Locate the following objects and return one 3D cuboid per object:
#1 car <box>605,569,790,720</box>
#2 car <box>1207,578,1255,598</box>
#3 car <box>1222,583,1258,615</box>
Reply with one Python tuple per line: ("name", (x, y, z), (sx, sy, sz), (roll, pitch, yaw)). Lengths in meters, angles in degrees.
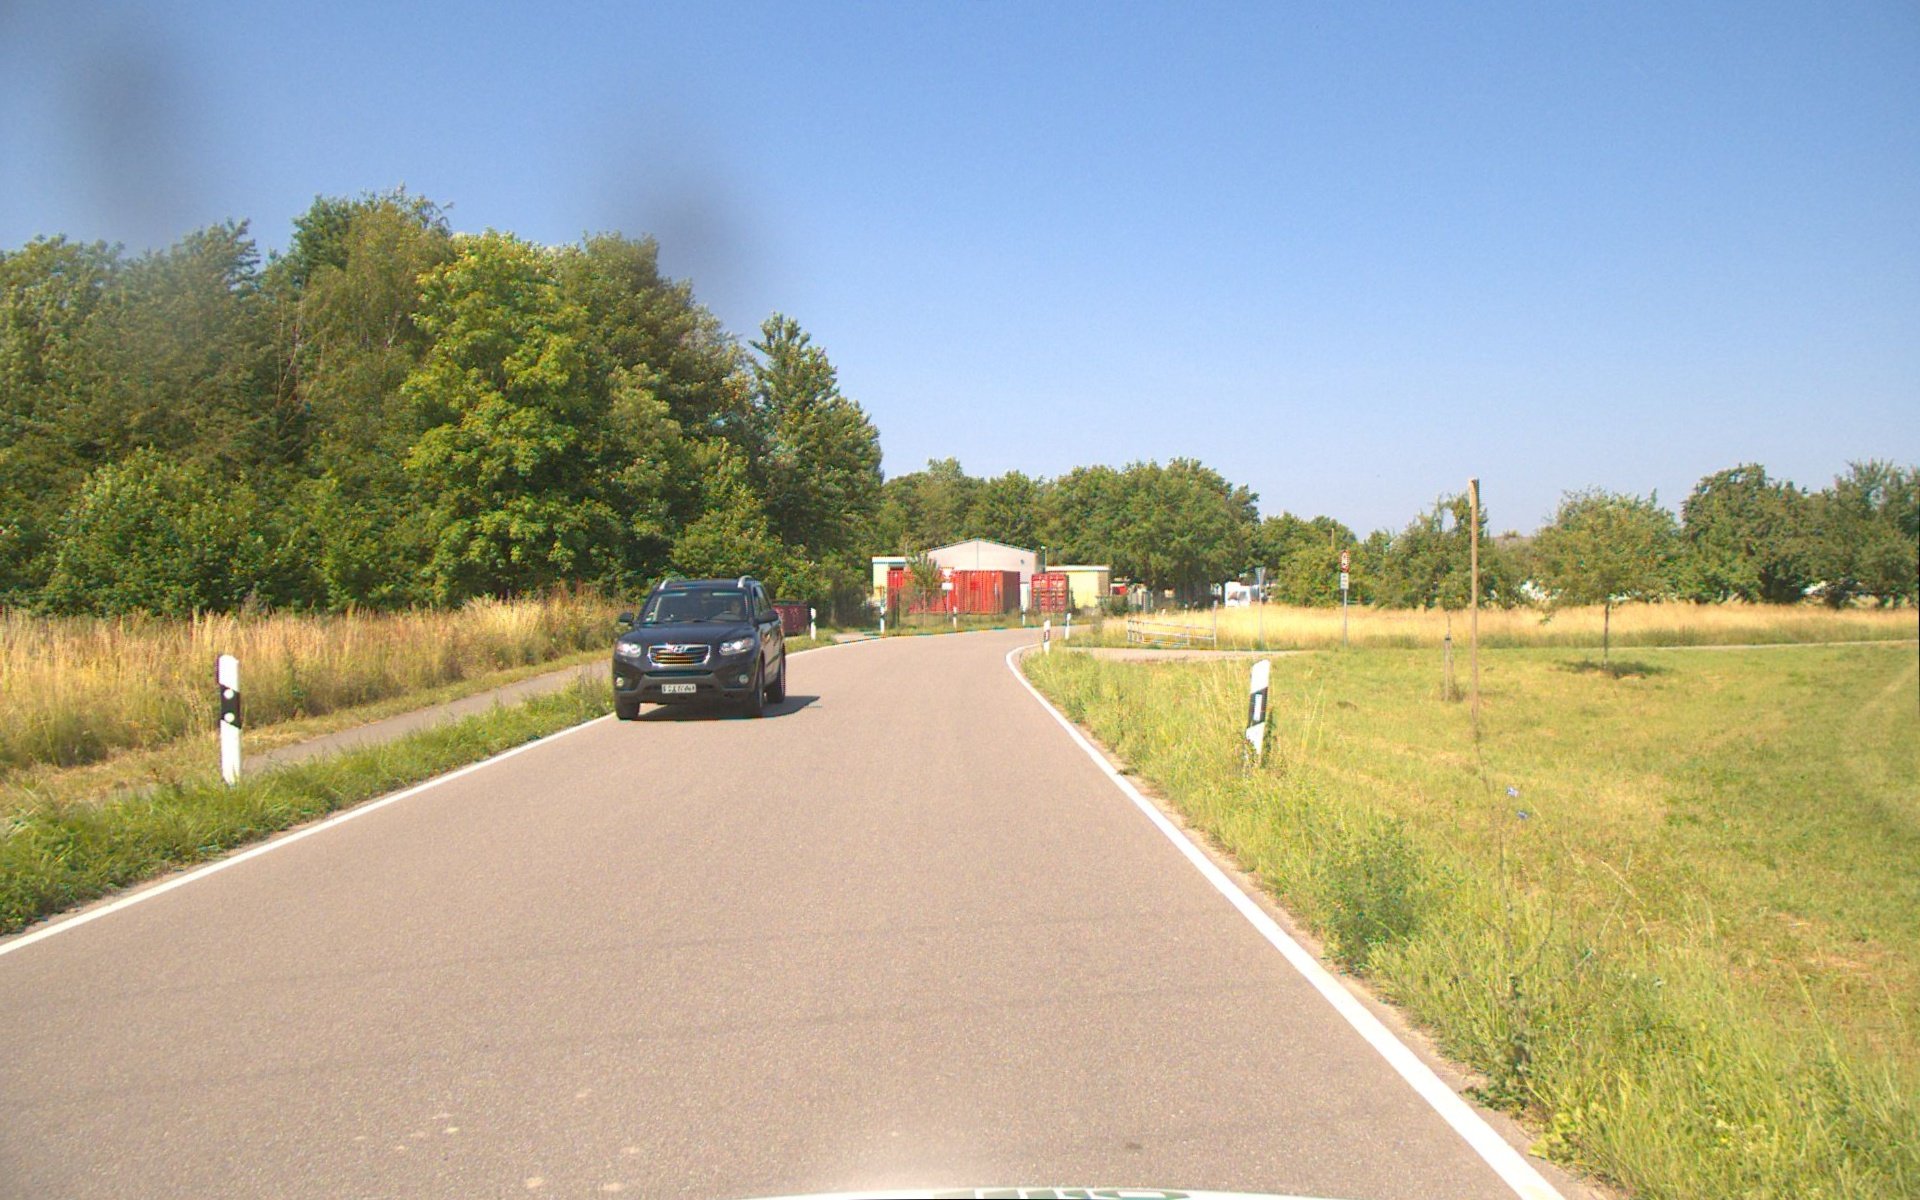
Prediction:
("car", (-3.397, 0.528, 22.198), (1.828, 1.783, 4.296), (-1, 0, -1))
("car", (33.042, -1.484, 201.831), (5.510, 2.306, 1.989), (-1, 0, -19))
("car", (21.242, -0.089, 125.416), (1.952, 2.306, 4.727), (0, 0, 19))
